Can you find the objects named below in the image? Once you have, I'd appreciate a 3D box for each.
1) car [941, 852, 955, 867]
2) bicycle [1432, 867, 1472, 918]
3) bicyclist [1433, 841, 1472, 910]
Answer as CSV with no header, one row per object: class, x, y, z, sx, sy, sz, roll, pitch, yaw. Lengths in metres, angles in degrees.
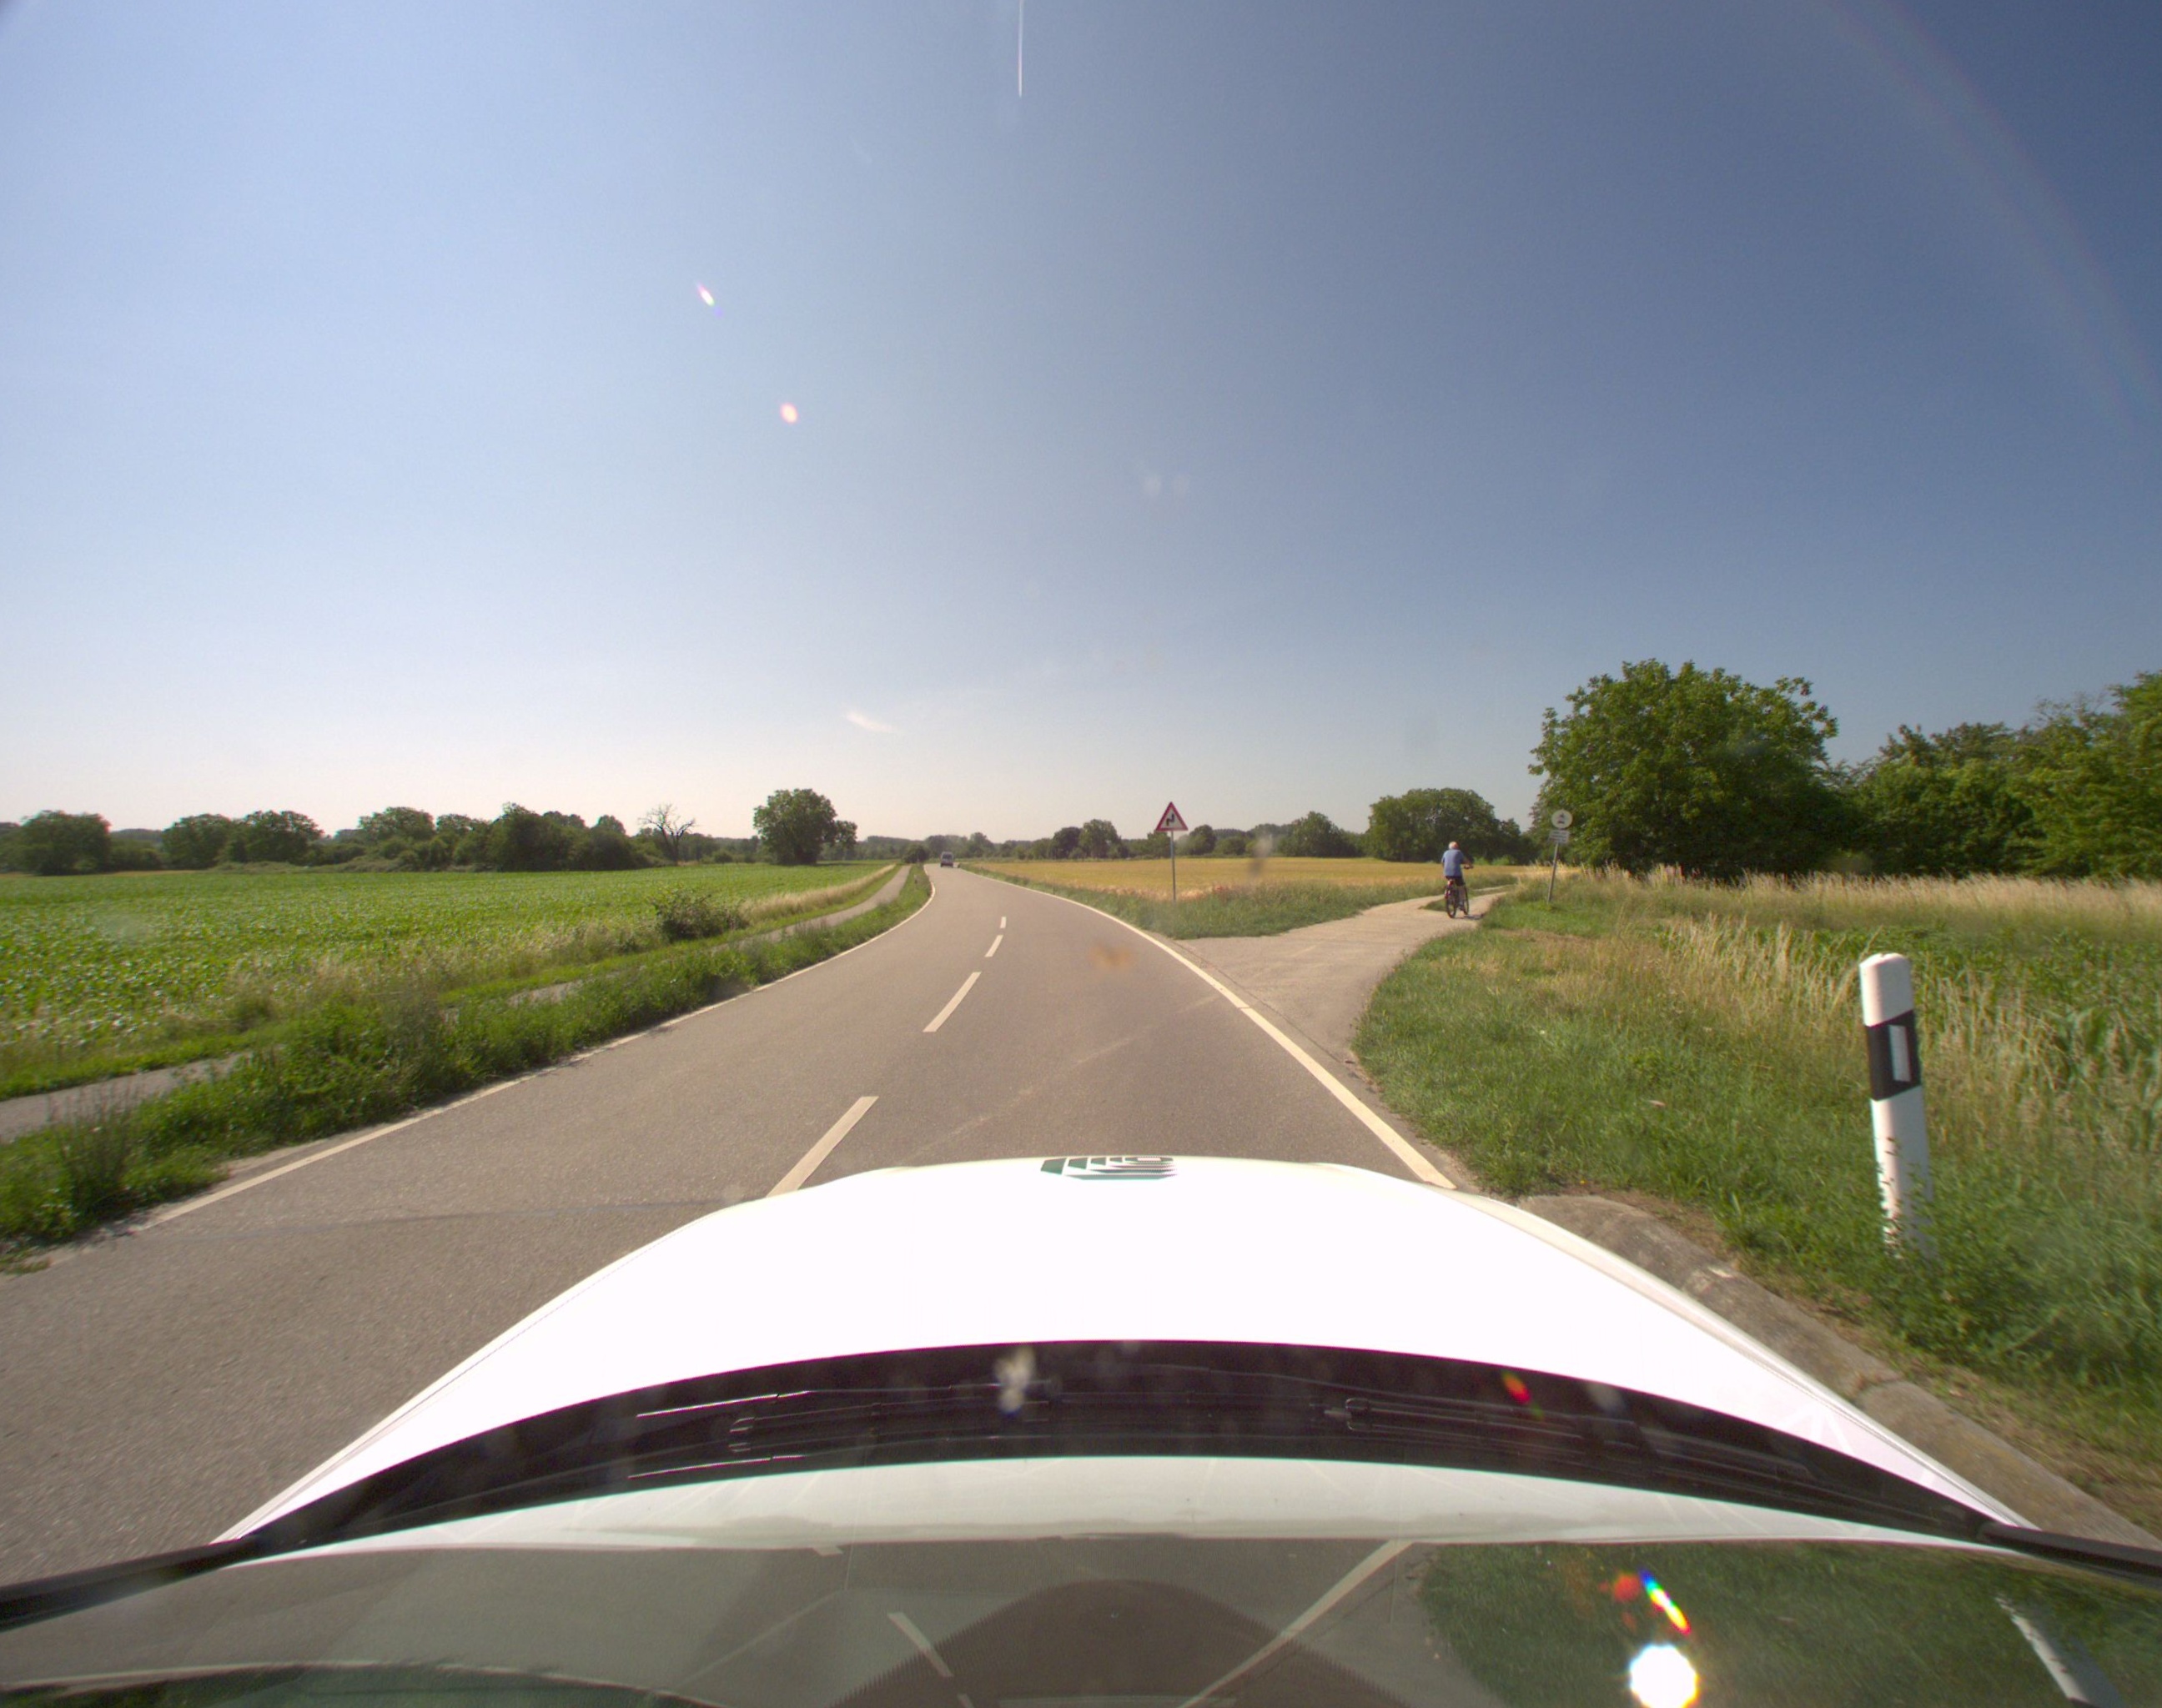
car,-21.953,0.923,134.375,2.104,2.367,5.667,-1,0,-10
bicycle,8.711,0.866,19.072,0.515,1.115,1.780,-1,-1,35
bicyclist,8.706,0.487,19.076,0.666,1.574,0.740,-1,-1,35
